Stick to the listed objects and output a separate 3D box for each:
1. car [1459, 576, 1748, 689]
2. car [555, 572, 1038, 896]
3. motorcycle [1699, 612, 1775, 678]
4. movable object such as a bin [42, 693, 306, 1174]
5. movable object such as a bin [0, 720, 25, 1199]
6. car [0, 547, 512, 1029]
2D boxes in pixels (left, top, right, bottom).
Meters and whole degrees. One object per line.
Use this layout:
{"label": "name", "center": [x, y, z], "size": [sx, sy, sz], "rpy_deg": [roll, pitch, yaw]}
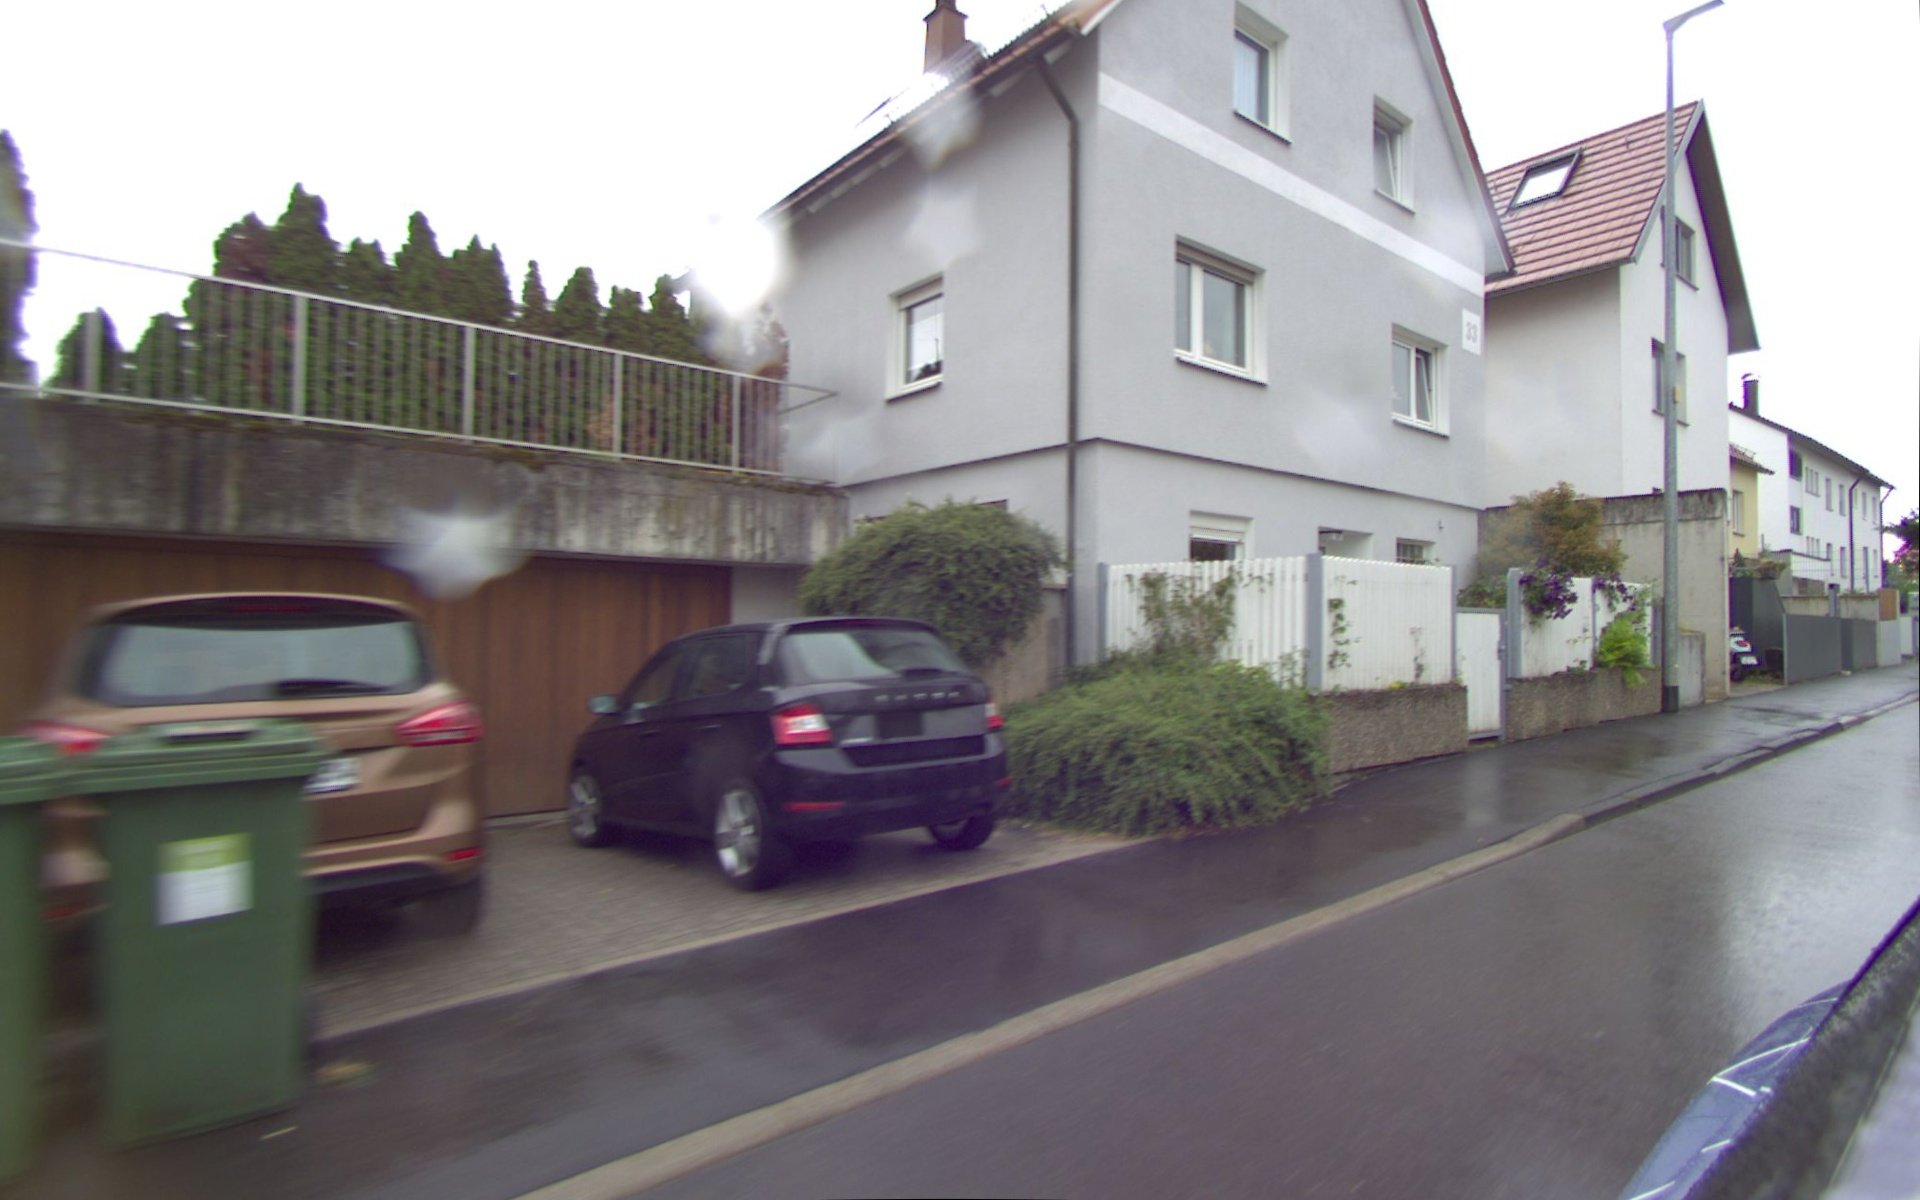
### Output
{"label": "car", "center": [10.294, 0.414, 16.367], "size": [1.788, 1.602, 3.593], "rpy_deg": [-1, 1, -41]}
{"label": "car", "center": [-1.281, 0.809, 6.554], "size": [1.552, 1.501, 3.450], "rpy_deg": [1, -7, -39]}
{"label": "motorcycle", "center": [12.980, 0.732, 16.930], "size": [0.547, 1.025, 1.147], "rpy_deg": [0, 1, 12]}
{"label": "movable object such as a bin", "center": [-2.195, 0.839, 2.838], "size": [0.528, 1.090, 0.568], "rpy_deg": [1, -1, -41]}
{"label": "movable object such as a bin", "center": [-2.647, 0.881, 2.449], "size": [0.528, 1.090, 0.568], "rpy_deg": [1, -1, -41]}
{"label": "car", "center": [-3.541, 0.560, 5.047], "size": [1.552, 1.529, 3.485], "rpy_deg": [1, 1, -39]}
